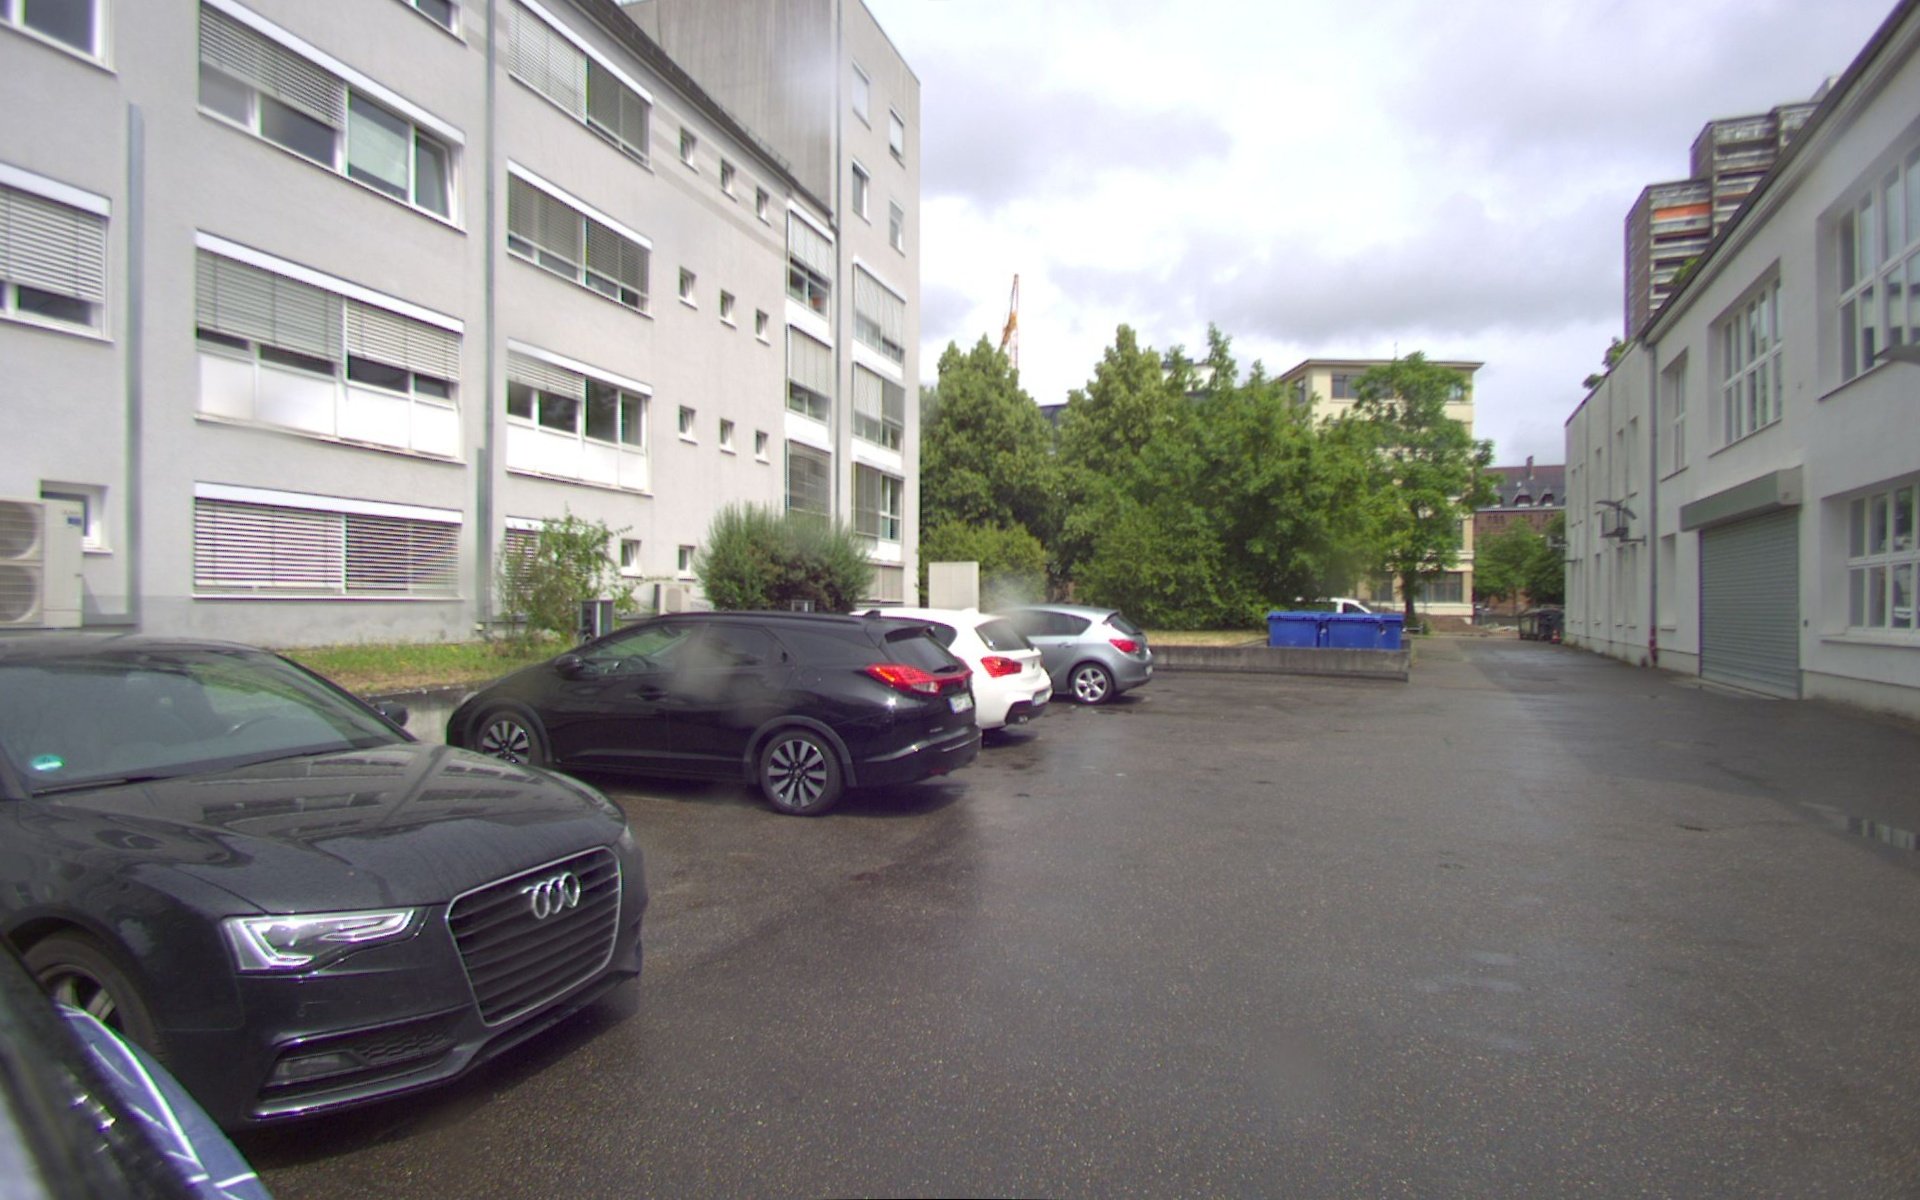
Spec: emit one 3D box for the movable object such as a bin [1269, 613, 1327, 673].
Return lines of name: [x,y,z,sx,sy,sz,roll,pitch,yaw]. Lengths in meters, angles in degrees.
movable object such as a bin: [7.957,0.984,23.783,1.126,1.338,1.197,-1,0,27]

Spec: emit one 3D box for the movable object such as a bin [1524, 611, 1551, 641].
movable object such as a bin: [26.825,1.204,47.026,1.058,1.366,1.207,-1,0,28]

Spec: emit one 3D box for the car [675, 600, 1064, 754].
car: [-1.013,0.764,11.508,4.094,1.453,1.685,1,0,20]

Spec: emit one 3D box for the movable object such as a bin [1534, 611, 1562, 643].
movable object such as a bin: [25.652,1.153,44.176,0.974,1.366,0.911,-1,0,28]

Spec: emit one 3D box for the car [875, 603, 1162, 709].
car: [0.952,0.815,16.171,4.281,1.453,1.752,1,0,18]

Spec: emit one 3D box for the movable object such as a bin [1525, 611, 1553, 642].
movable object such as a bin: [26.215,1.209,45.839,1.041,1.366,1.196,-1,0,28]

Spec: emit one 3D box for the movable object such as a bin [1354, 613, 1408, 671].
movable object such as a bin: [10.250,1.000,24.632,1.126,1.338,1.197,-1,0,27]

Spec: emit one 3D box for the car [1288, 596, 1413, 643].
car: [15.085,0.743,39.145,4.317,1.740,1.705,-1,0,30]

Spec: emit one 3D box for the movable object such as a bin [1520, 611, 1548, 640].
movable object such as a bin: [27.470,1.199,48.455,1.061,1.366,1.253,-1,0,28]

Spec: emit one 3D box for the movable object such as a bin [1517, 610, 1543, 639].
movable object such as a bin: [27.996,1.196,49.716,1.061,1.366,1.253,-1,0,28]

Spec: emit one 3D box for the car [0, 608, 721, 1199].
car: [-3.312,0.756,3.781,4.494,1.362,1.752,1,0,19]

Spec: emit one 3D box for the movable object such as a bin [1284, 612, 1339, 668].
movable object such as a bin: [8.771,0.978,25.233,1.126,1.338,1.197,-1,0,27]

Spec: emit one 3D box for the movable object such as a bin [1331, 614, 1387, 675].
movable object such as a bin: [9.156,1.000,23.202,1.090,1.335,1.197,-1,0,27]

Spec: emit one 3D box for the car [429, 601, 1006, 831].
car: [-1.922,0.771,8.207,4.280,1.453,1.753,1,0,18]
